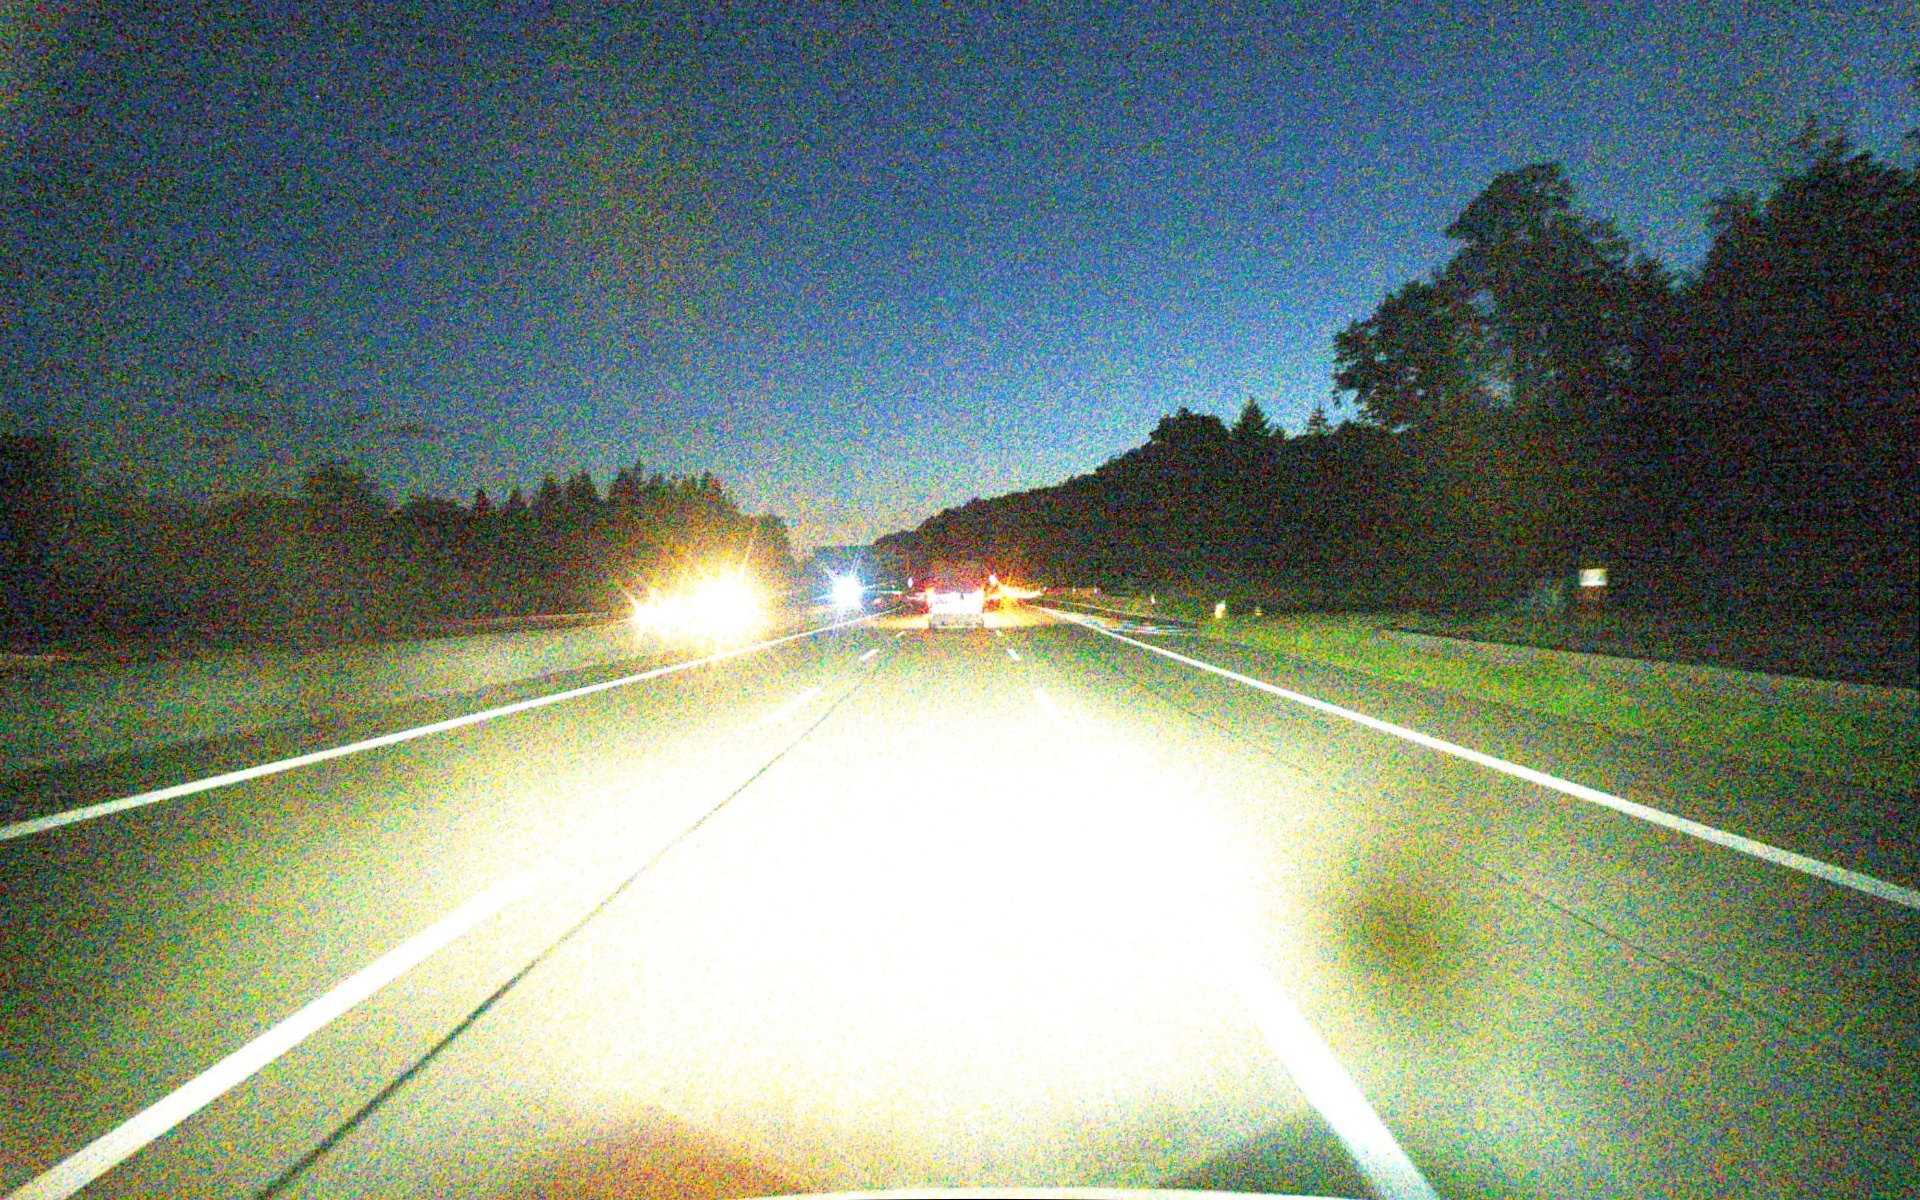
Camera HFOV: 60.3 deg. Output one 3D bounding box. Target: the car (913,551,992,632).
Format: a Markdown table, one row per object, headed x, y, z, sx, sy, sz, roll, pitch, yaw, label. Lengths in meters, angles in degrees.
| x | y | z | sx | sy | sz | roll | pitch | yaw | label |
| --- | --- | --- | --- | --- | --- | --- | --- | --- | --- |
| -0.270 | -0.305 | 60.672 | 2.729 | 2.781 | 6.298 | 0 | 0 | 0 | car |

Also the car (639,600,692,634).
| x | y | z | sx | sy | sz | roll | pitch | yaw | label |
| --- | --- | --- | --- | --- | --- | --- | --- | --- | --- |
| -15.216 | 0.846 | 85.639 | 1.893 | 1.632 | 4.953 | -1 | 0 | -1 | car |

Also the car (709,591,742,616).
| x | y | z | sx | sy | sz | roll | pitch | yaw | label |
| --- | --- | --- | --- | --- | --- | --- | --- | --- | --- |
| -19.086 | 0.271 | 134.850 | 1.987 | 2.003 | 5.396 | -1 | 0 | -1 | car |

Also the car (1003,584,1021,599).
| x | y | z | sx | sy | sz | roll | pitch | yaw | label |
| --- | --- | --- | --- | --- | --- | --- | --- | --- | --- |
| 5.894 | -0.954 | 188.235 | 1.806 | 1.668 | 4.000 | -1 | 1 | -1 | car |
